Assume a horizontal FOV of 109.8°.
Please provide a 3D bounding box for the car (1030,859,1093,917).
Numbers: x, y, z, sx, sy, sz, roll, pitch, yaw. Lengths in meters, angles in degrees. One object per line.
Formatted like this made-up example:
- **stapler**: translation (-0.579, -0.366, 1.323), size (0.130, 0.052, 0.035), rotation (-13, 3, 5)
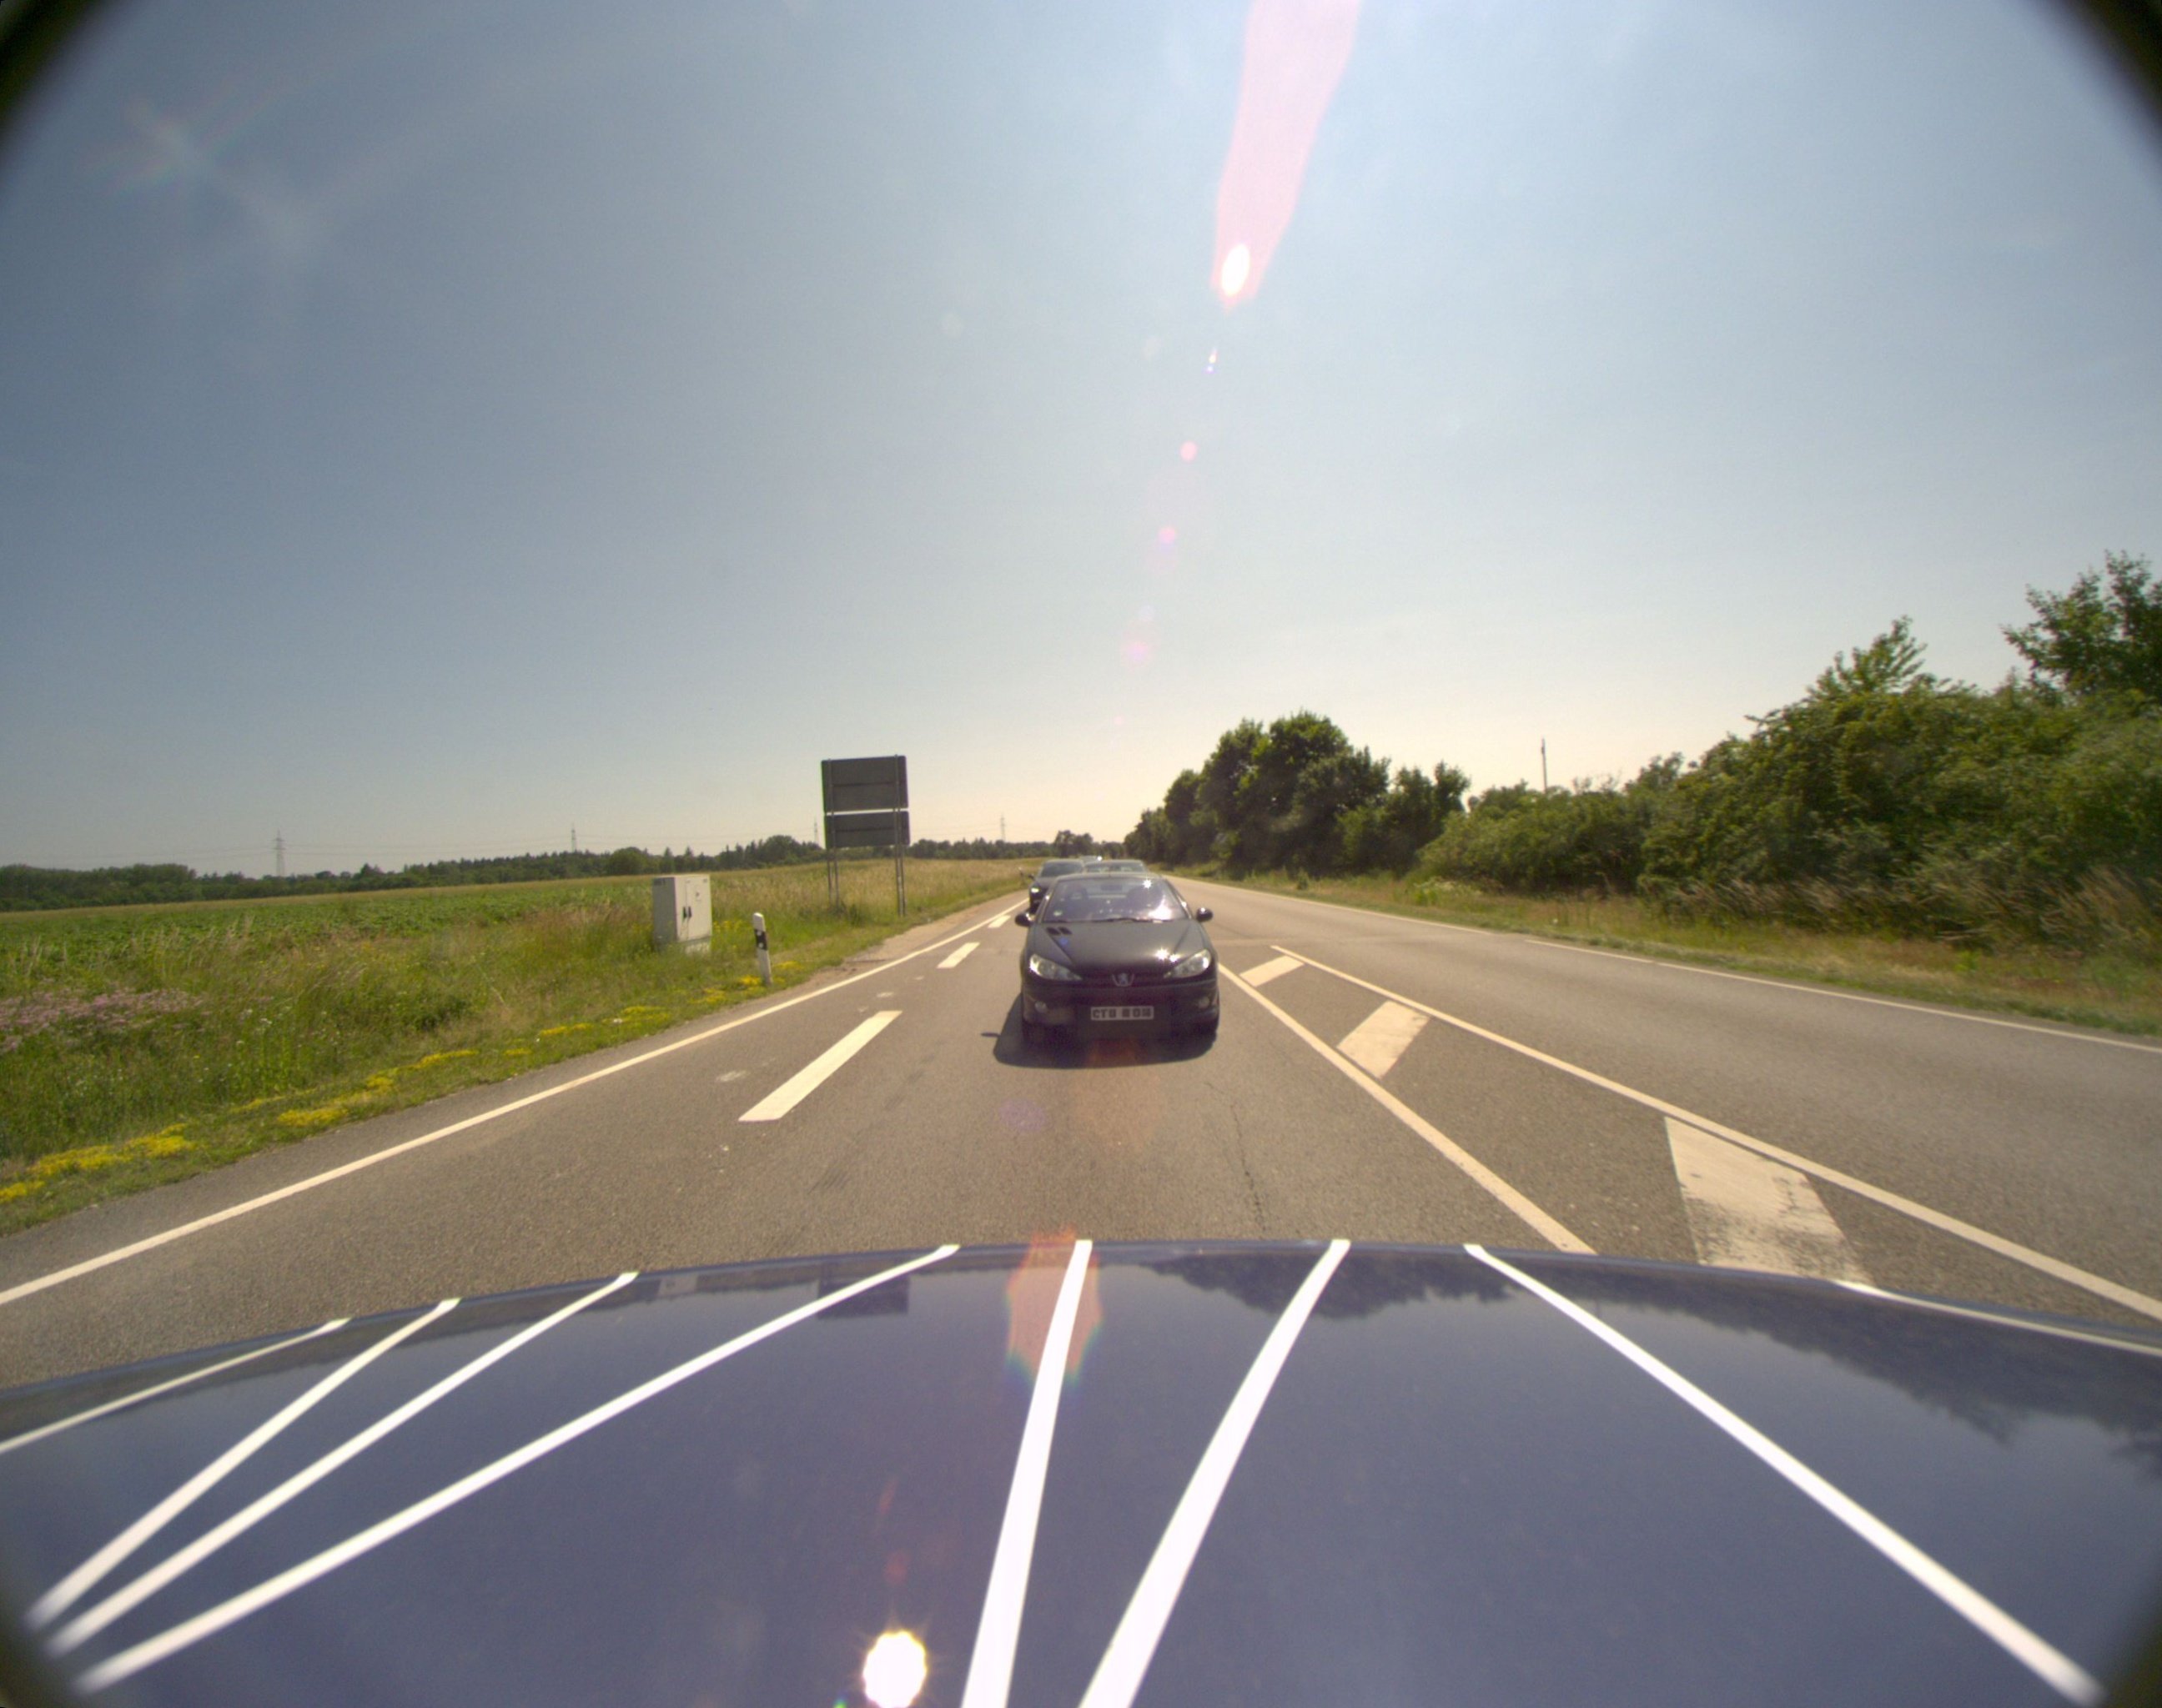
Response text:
- **car**: translation (-0.486, 0.937, 22.666), size (1.665, 1.449, 4.173), rotation (-2, 0, 1)

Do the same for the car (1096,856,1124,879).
- **car**: translation (1.719, 0.790, 45.845), size (1.588, 1.294, 3.631), rotation (-2, 0, 1)

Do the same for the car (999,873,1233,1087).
- **car**: translation (0.281, 0.968, 7.408), size (1.665, 1.389, 3.731), rotation (-2, 0, 1)

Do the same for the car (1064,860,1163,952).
- **car**: translation (0.621, 0.914, 14.990), size (1.665, 1.477, 3.732), rotation (-2, 0, 2)

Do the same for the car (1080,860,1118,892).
- **car**: translation (0.783, 0.950, 34.466), size (1.588, 1.294, 3.631), rotation (-2, 0, 1)

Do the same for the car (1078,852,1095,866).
- **car**: translation (0.513, 0.440, 74.607), size (1.588, 1.294, 3.631), rotation (-2, 0, 1)
